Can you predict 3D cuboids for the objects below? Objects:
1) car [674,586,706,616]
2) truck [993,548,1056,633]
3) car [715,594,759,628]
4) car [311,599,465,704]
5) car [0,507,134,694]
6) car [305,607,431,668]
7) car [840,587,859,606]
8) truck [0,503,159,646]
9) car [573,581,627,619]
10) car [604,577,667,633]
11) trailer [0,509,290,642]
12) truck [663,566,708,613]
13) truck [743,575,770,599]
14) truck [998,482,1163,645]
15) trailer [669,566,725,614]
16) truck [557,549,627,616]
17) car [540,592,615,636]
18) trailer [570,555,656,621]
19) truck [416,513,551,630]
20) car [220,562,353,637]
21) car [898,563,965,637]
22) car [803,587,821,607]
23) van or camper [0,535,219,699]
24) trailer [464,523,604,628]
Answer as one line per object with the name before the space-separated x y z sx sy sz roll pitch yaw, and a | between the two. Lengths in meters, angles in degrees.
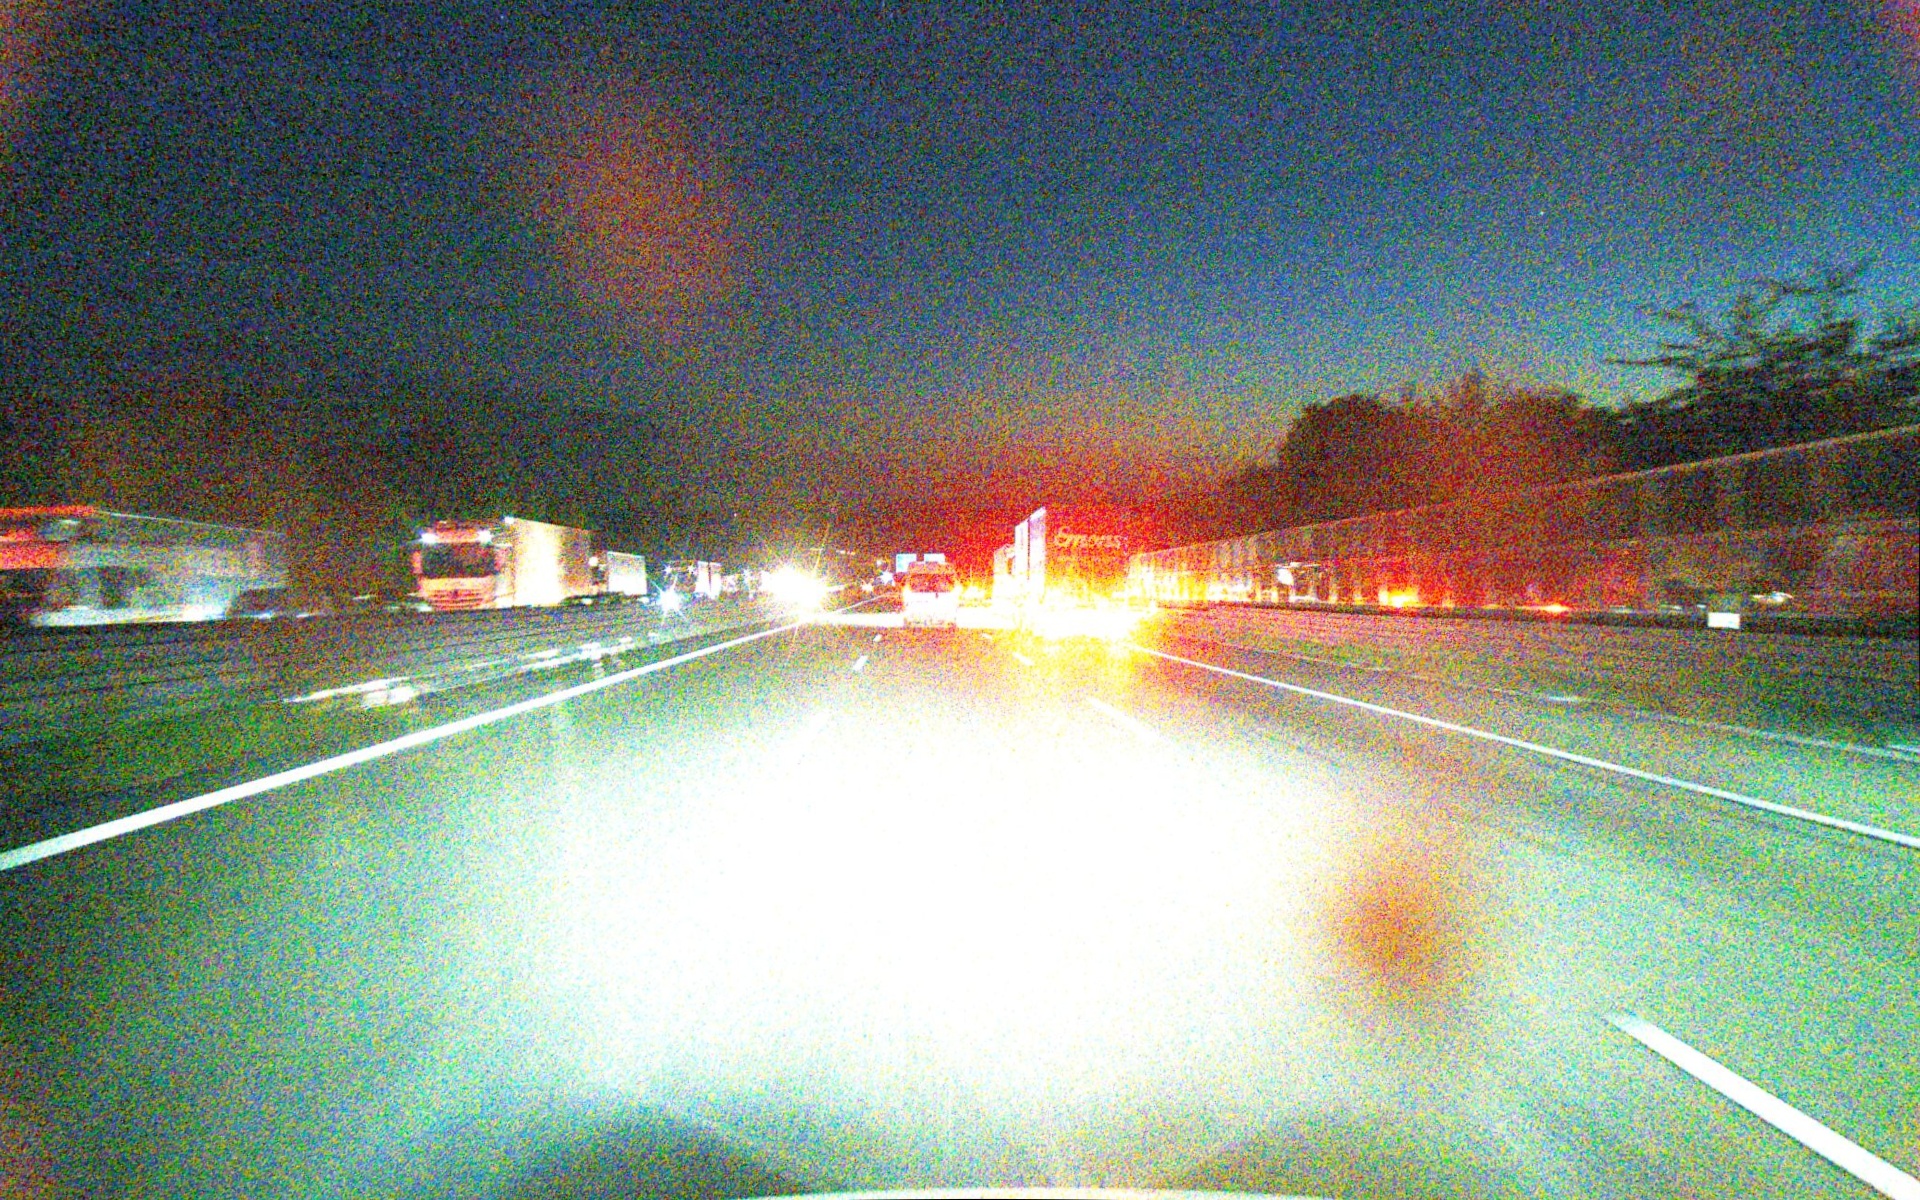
car | -18.972 0.059 116.312 1.955 2.049 3.995 0 0 -6
truck | 3.631 -0.577 96.898 3.275 4.554 13.911 0 0 1
car | -13.841 0.700 102.943 1.953 2.049 5.324 1 -1 0
car | -11.916 1.045 34.710 1.954 2.049 3.997 1 -1 -3
car | -11.545 0.006 19.245 1.954 2.049 3.997 1 -1 -3
car | -15.742 0.990 44.235 1.694 1.512 4.645 1 -1 0
car | -12.573 -0.419 187.609 1.955 2.049 3.995 1 -1 -6
truck | -24.195 -0.644 43.872 2.900 3.502 6.359 0 0 -2
car | -17.145 0.013 78.892 1.955 1.716 4.501 1 -1 -6
car | -12.446 0.201 63.569 1.955 2.049 3.995 1 -1 -6
trailer | -24.385 -0.657 50.352 2.900 3.502 13.432 0 0 -2
truck | -22.785 -0.840 137.628 2.802 3.752 6.600 1 -1 -2
truck | -29.906 -1.847 242.943 3.105 3.278 7.446 1 -1 -1
truck | 3.746 -1.066 58.582 3.836 4.708 21.012 0 0 -1
trailer | -22.991 -0.758 145.477 2.827 3.917 15.062 1 -1 -1
truck | -21.225 -1.018 95.698 2.816 3.737 6.049 0 0 -1
car | -12.930 0.485 56.077 1.955 1.383 3.995 1 -1 -6
trailer | -21.380 -0.628 102.621 2.827 3.736 13.043 1 -1 -2
truck | -16.205 -0.877 56.738 2.816 3.738 6.776 1 -1 -2
car | -19.808 0.029 48.910 1.954 2.049 5.240 1 -1 -3
car | -1.029 -0.003 63.015 2.289 2.686 5.248 0 0 2
car | -16.336 -0.314 182.610 1.955 2.049 3.995 1 -1 -6
van or camper | -16.375 0.281 30.893 2.042 2.678 7.599 -1 0 -4
trailer | -16.671 -0.783 65.782 2.828 3.736 12.209 1 -1 -3
